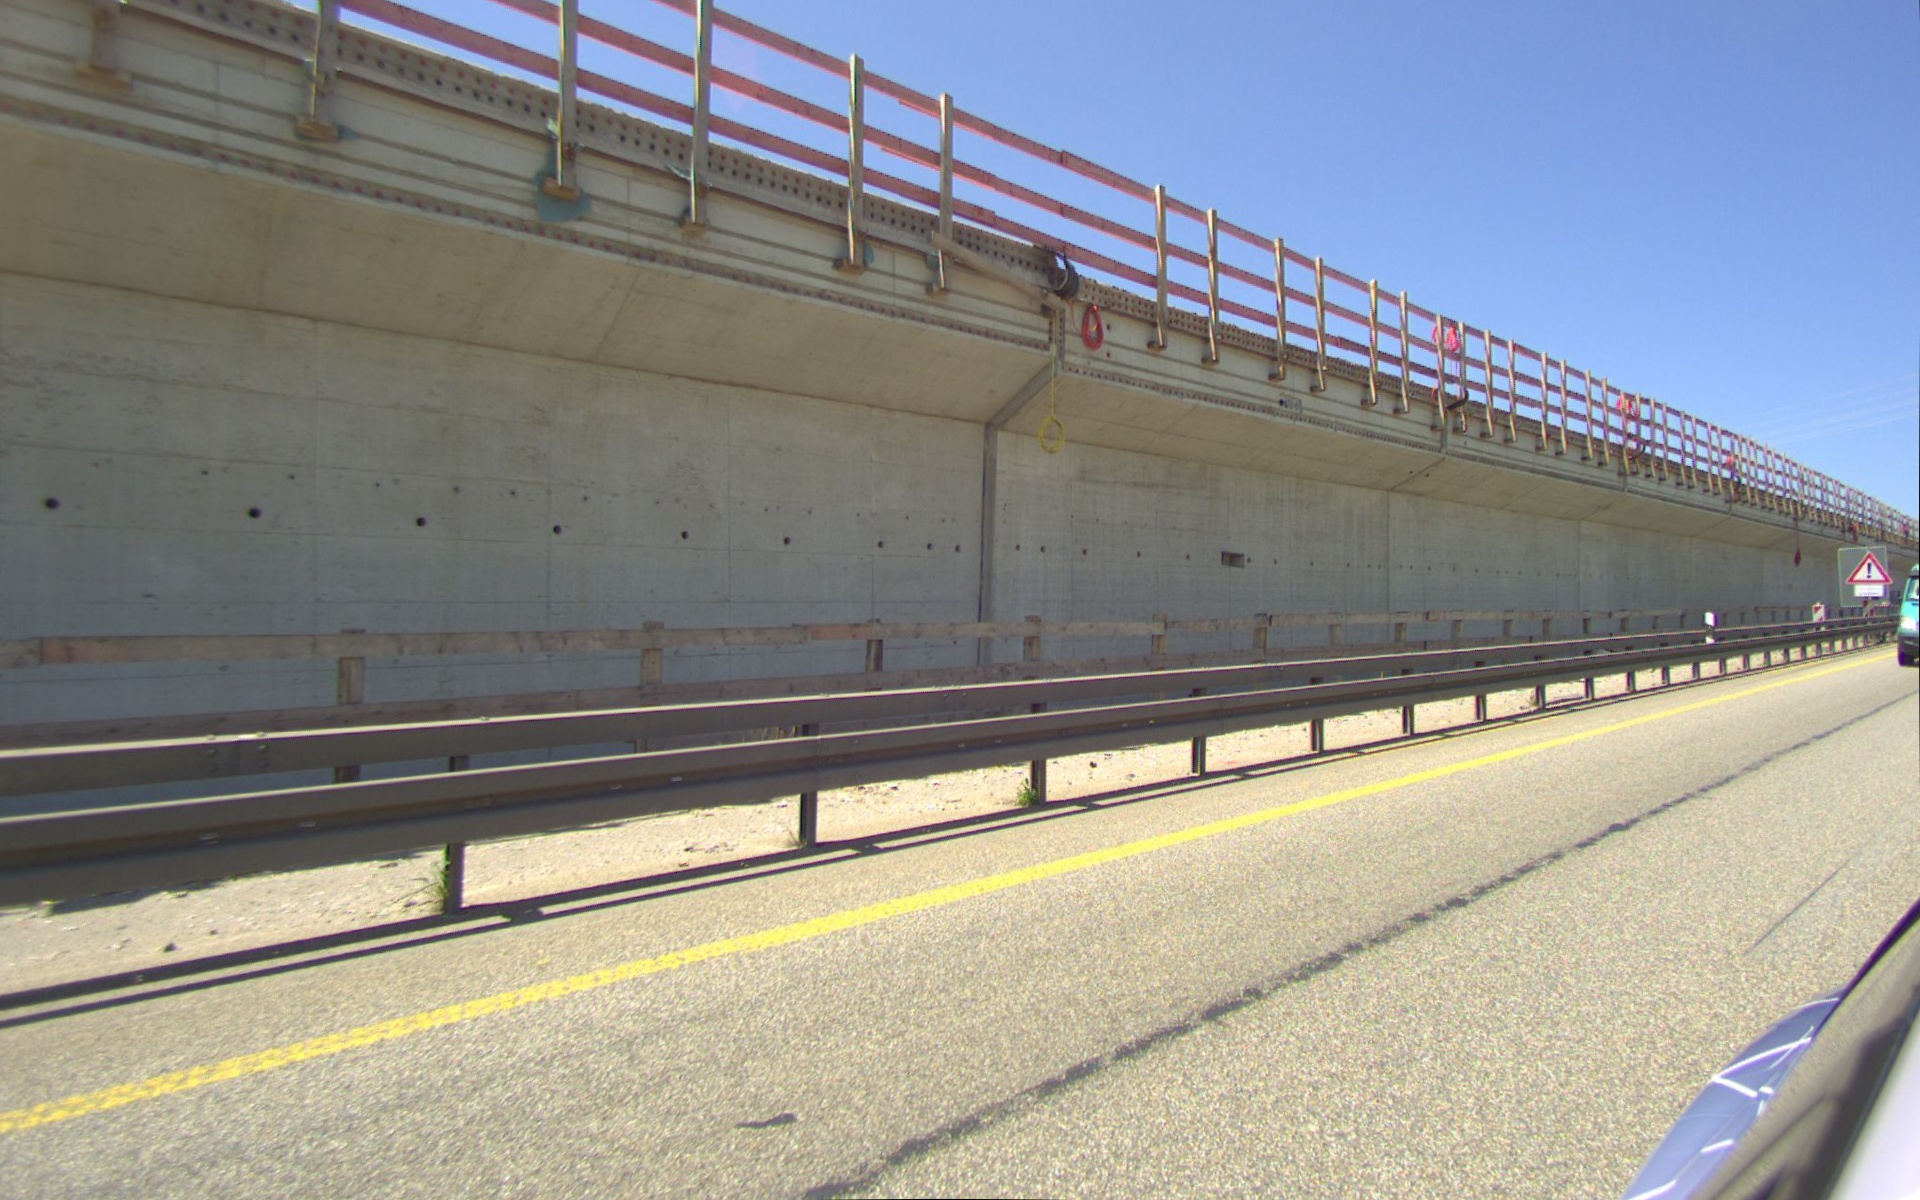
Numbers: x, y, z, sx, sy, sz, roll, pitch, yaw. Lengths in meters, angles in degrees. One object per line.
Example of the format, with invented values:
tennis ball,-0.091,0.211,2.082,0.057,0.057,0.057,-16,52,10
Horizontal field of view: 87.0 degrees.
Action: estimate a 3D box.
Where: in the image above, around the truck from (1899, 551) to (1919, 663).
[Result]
truck,23.693,0.104,23.330,7.302,2.387,2.138,-1,0,-40
